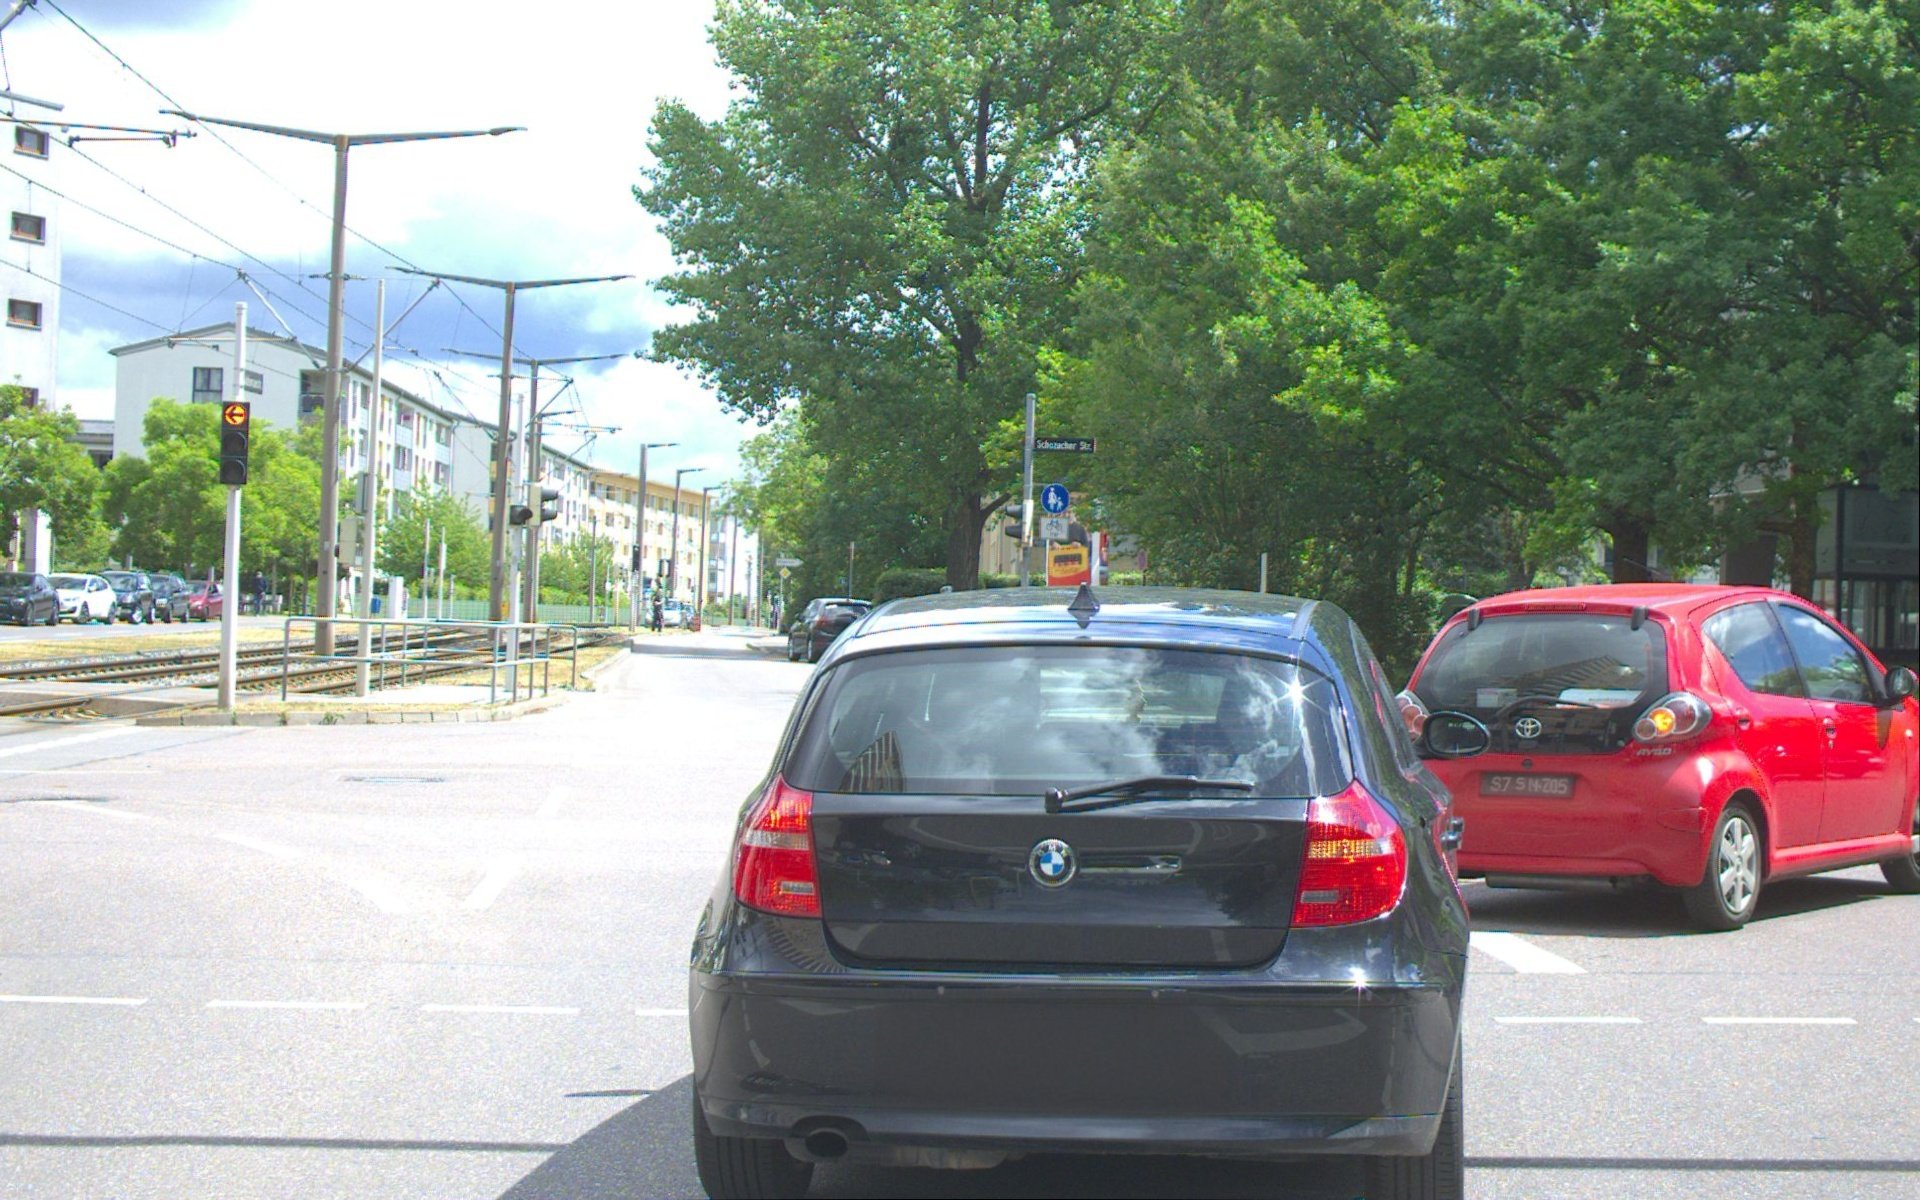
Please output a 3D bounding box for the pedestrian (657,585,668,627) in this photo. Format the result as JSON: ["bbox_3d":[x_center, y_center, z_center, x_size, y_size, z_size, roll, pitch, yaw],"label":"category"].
[{"bbox_3d":[-11.409,0.237,131.818,0.333,1.622,0.358,1,1,-18],"label":"pedestrian"}]

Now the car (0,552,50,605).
[{"bbox_3d":[-25.864,-0.602,93.165,1.761,1.390,4.001,1,1,-7],"label":"car"}]

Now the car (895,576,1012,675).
[{"bbox_3d":[-0.117,0.455,61.343,1.993,1.678,4.000,1,0,0],"label":"car"}]

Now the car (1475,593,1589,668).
[{"bbox_3d":[12.818,0.662,77.247,1.630,1.567,4.033,1,1,-3],"label":"car"}]

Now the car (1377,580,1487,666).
[{"bbox_3d":[10.484,0.489,76.560,1.630,1.804,4.033,1,1,-3],"label":"car"}]

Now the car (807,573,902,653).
[{"bbox_3d":[-2.327,0.270,76.596,1.993,1.678,4.000,1,1,0],"label":"car"}]

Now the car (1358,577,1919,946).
[{"bbox_3d":[3.255,0.640,15.475,1.545,1.436,3.189,2,1,35],"label":"car"}]

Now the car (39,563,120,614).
[{"bbox_3d":[-25.768,-0.350,100.712,1.761,1.390,4.001,1,1,-7],"label":"car"}]

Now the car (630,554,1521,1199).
[{"bbox_3d":[0.458,0.641,8.833,1.753,1.482,3.999,1,1,7],"label":"car"}]

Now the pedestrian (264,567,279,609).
[{"bbox_3d":[-26.658,-0.467,133.156,0.452,1.631,0.480,1,1,-3],"label":"pedestrian"}]

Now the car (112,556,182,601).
[{"bbox_3d":[-26.417,-0.711,111.860,1.761,1.390,4.001,1,1,-7],"label":"car"}]

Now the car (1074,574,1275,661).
[{"bbox_3d":[4.705,0.386,75.396,3.986,1.817,1.779,1,1,-22],"label":"car"}]

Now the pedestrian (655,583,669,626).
[{"bbox_3d":[-11.429,0.184,131.991,0.478,1.631,0.454,1,1,-1],"label":"pedestrian"}]

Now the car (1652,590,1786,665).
[{"bbox_3d":[17.411,0.615,79.031,1.730,1.589,4.001,1,1,-8],"label":"car"}]

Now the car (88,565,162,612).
[{"bbox_3d":[-26.028,-0.385,107.279,1.761,1.390,4.001,1,1,-7],"label":"car"}]

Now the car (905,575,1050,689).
[{"bbox_3d":[0.255,0.493,53.894,2.152,1.678,4.000,1,0,0],"label":"car"}]

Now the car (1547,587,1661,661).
[{"bbox_3d":[14.722,0.529,78.740,1.630,1.589,4.001,1,1,-3],"label":"car"}]
